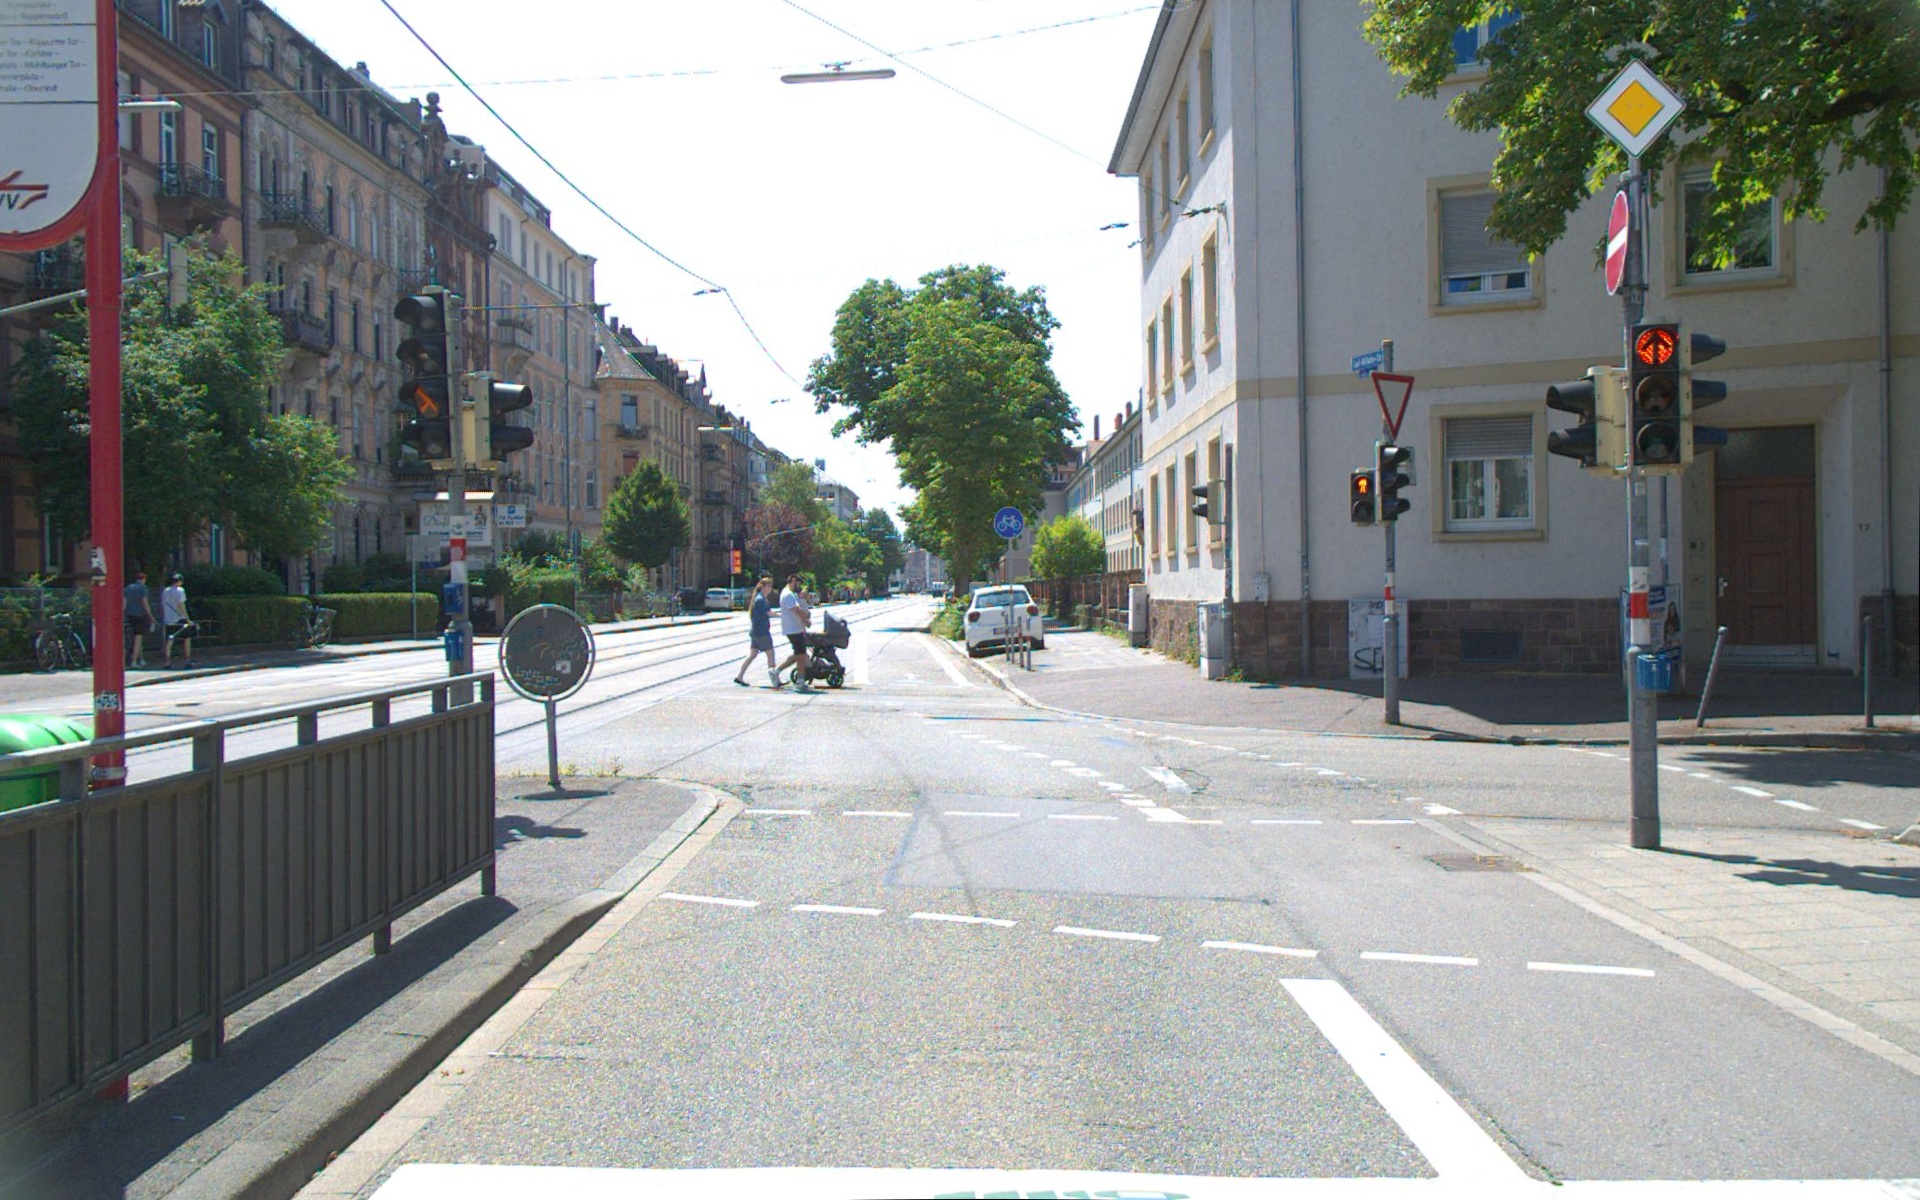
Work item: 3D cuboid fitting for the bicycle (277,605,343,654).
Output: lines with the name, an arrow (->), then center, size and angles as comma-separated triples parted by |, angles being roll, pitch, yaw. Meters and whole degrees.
bicycle -> -15.891, 0.698, 40.507 | 0.920, 1.156, 2.767 | 1, 0, -9

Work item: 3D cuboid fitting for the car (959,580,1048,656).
car -> 0.931, 0.398, 37.333 | 1.778, 1.542, 3.999 | -3, 0, -1

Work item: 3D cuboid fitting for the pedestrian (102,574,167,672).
pedestrian -> -15.966, 0.425, 32.016 | 0.799, 1.854, 0.874 | 1, 1, 1

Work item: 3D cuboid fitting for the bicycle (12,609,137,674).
bicycle -> -16.709, 0.758, 31.299 | 0.918, 1.156, 2.773 | 1, 0, -2

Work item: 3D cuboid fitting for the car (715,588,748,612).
car -> -17.043, -0.021, 123.568 | 1.880, 1.745, 3.999 | 1, 0, -1

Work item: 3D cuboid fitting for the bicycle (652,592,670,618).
bicycle -> -15.275, 0.250, 84.429 | 0.664, 1.301, 1.917 | -1, 0, -4

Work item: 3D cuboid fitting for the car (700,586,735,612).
car -> -16.875, -0.052, 115.307 | 1.880, 1.745, 3.999 | 1, 0, -1

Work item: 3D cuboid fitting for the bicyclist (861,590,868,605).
bicyclist -> -11.325, -0.301, 195.662 | 0.712, 1.850, 1.079 | 1, 0, 1

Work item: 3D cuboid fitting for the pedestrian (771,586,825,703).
pedestrian -> -2.362, 0.643, 24.157 | 0.660, 1.674, 0.559 | 1, -1, 5

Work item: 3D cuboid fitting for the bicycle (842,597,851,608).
bicycle -> -12.147, 0.283, 176.642 | 0.712, 1.142, 2.085 | 1, 0, 1

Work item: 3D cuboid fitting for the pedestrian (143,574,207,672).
pedestrian -> -15.205, 0.433, 32.056 | 0.799, 1.854, 0.874 | 1, 1, 1

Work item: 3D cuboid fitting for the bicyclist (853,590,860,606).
bicyclist -> -12.233, -0.276, 195.706 | 0.712, 1.850, 1.079 | 1, 0, 1

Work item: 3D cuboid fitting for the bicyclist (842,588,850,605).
bicyclist -> -12.135, -0.354, 176.680 | 0.712, 1.799, 1.079 | 1, 0, 1

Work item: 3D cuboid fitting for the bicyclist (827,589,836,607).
bicyclist -> -11.915, -0.150, 153.054 | 0.712, 1.657, 1.079 | 1, 0, 1

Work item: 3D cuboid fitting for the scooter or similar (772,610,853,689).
scooter or similar -> -2.258, 0.759, 25.304 | 1.179, 1.175, 0.557 | 1, -1, -9

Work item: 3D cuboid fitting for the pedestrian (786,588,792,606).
pedestrian -> -14.589, -0.235, 140.967 | 0.398, 1.486, 0.436 | -1, 0, -1

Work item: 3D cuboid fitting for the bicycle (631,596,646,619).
bicycle -> -15.497, 0.336, 79.782 | 0.665, 1.083, 1.913 | -1, 0, -12

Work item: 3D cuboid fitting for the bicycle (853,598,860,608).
bicycle -> -12.248, 0.356, 195.716 | 0.712, 1.142, 2.085 | 1, 0, 1

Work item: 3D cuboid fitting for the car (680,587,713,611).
car -> -19.675, -0.066, 123.601 | 1.880, 1.745, 3.999 | 1, 0, -1

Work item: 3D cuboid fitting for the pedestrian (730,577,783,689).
pedestrian -> -3.074, 0.496, 25.041 | 0.660, 1.674, 0.559 | 1, -1, 5
